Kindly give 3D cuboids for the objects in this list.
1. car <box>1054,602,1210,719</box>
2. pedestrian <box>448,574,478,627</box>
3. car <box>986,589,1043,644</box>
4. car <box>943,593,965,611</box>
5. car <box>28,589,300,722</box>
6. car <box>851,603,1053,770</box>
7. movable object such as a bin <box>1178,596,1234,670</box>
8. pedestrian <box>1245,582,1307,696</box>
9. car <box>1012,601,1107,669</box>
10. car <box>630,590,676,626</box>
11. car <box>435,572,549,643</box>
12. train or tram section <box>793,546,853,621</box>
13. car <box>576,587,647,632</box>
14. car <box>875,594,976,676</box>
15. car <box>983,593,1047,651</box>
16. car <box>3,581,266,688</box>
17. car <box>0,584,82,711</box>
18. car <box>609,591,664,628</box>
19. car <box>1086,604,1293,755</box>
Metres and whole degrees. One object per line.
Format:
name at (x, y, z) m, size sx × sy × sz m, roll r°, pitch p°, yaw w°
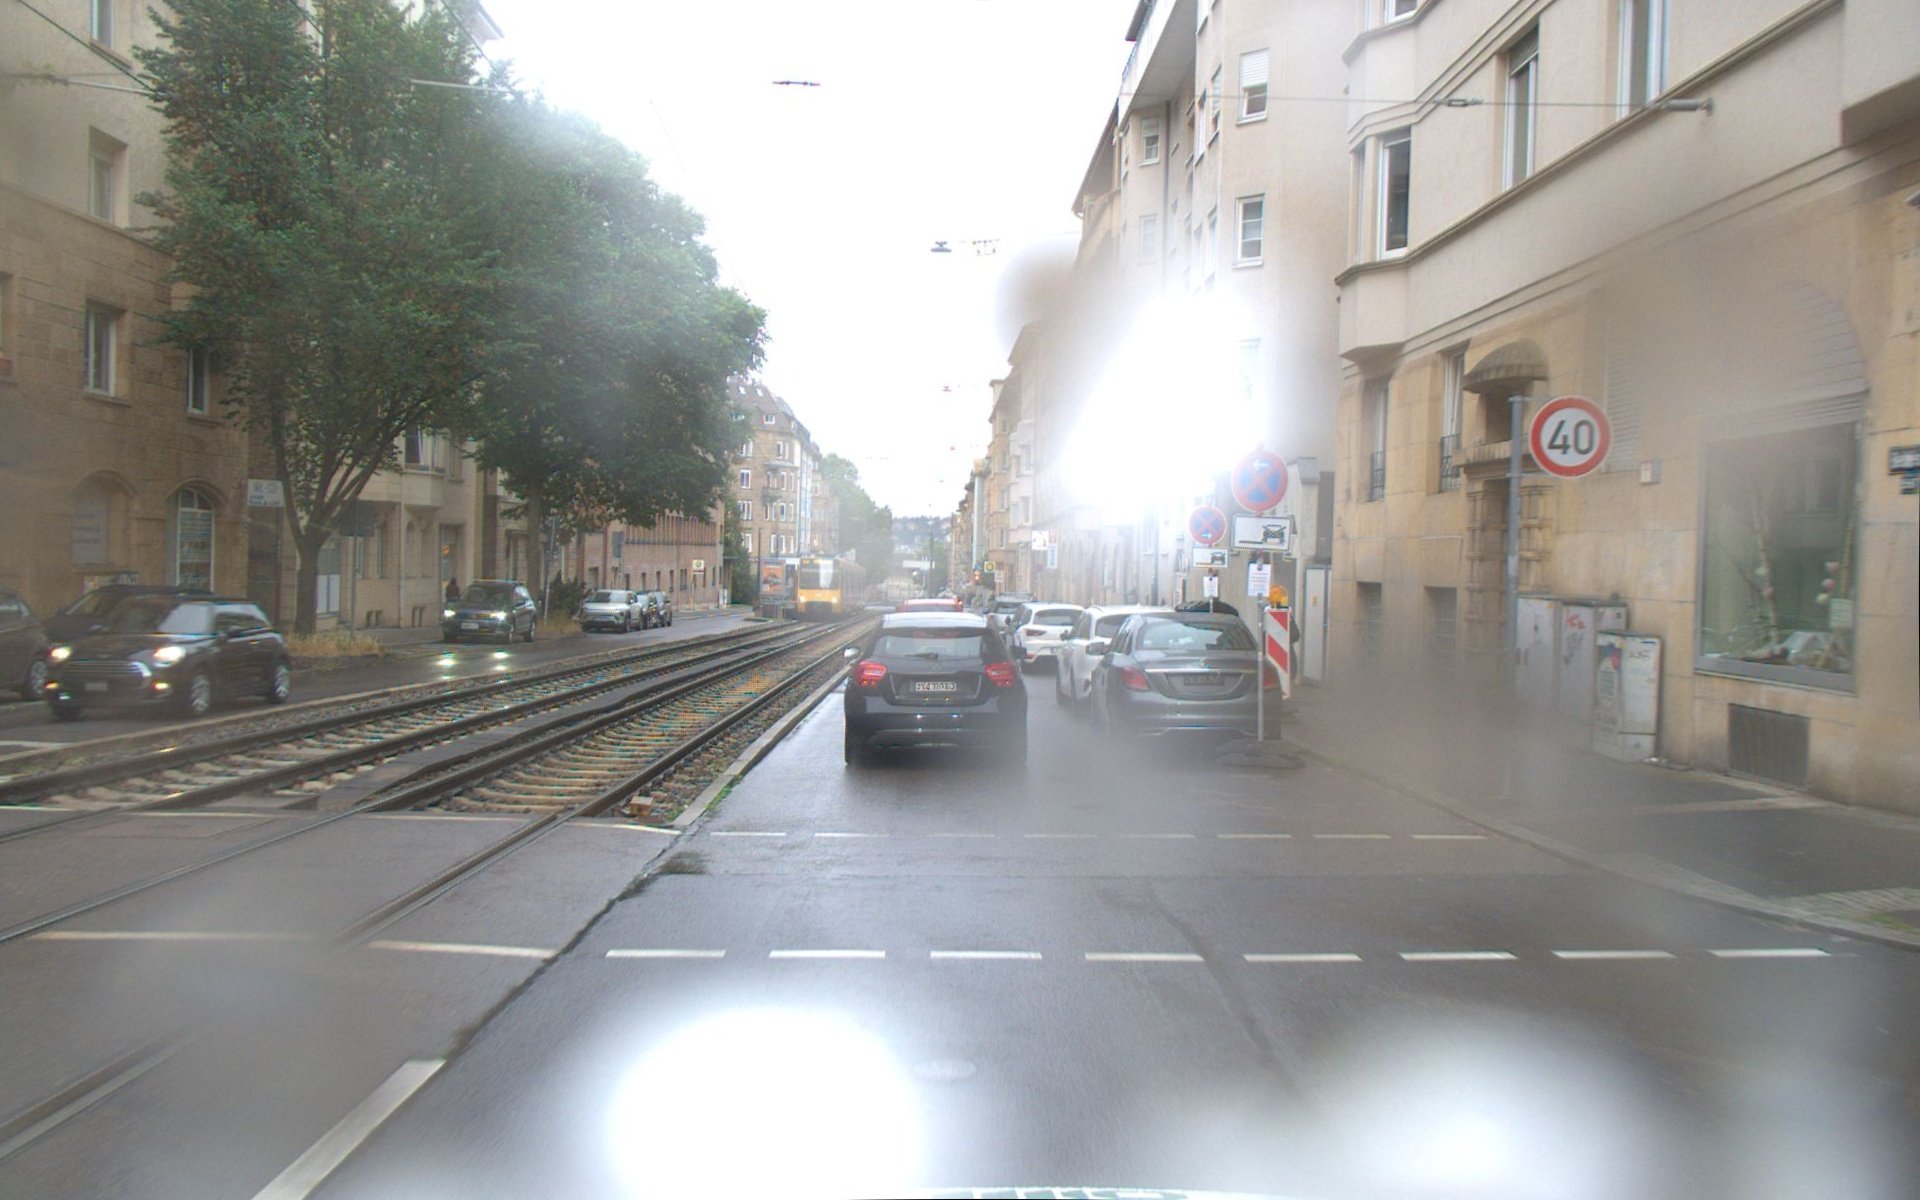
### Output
car at (2.343, 0.801, 23.594) m, size 1.677 × 1.493 × 4.773 m, roll 0°, pitch -1°, yaw -1°
pedestrian at (-16.306, 0.016, 54.245) m, size 0.713 × 1.692 × 0.770 m, roll 1°, pitch 0°, yaw -2°
car at (1.791, 0.554, 55.299) m, size 1.742 × 1.780 × 4.548 m, roll 0°, pitch -1°, yaw 0°
car at (-0.558, 0.209, 148.048) m, size 1.848 × 1.552 × 4.246 m, roll 2°, pitch 0°, yaw 1°
car at (-9.734, 0.619, 20.553) m, size 1.620 × 1.488 × 3.733 m, roll 0°, pitch 0°, yaw -1°
car at (-0.092, 0.785, 16.789) m, size 1.797 × 1.478 × 3.901 m, roll 1°, pitch 0°, yaw -1°
movable object such as a bin at (5.117, 0.680, 34.489) m, size 0.960 × 1.494 × 1.272 m, roll 0°, pitch -1°, yaw -1°
pedestrian at (4.830, 0.595, 25.291) m, size 0.788 × 1.717 × 0.754 m, roll 0°, pitch -1°, yaw -2°
car at (2.147, 0.755, 36.652) m, size 1.753 × 1.410 × 4.393 m, roll 0°, pitch -1°, yaw -1°
car at (-13.469, 0.326, 72.710) m, size 1.540 × 1.492 × 3.043 m, roll 2°, pitch 0°, yaw -2°
car at (-13.109, 0.177, 46.626) m, size 1.914 × 1.772 × 4.777 m, roll 4°, pitch 0°, yaw -2°
train or tram section at (-8.169, -0.965, 100.538) m, size 2.690 × 4.133 × 17.208 m, roll 0°, pitch 0°, yaw -2°
car at (-13.410, 0.324, 63.889) m, size 1.921 × 1.633 × 4.327 m, roll 2°, pitch 0°, yaw -2°
car at (-0.713, 0.696, 34.745) m, size 1.953 × 1.552 × 4.244 m, roll 2°, pitch 0°, yaw -1°
car at (1.624, 0.649, 49.236) m, size 1.803 × 1.636 × 4.761 m, roll 0°, pitch -1°, yaw 1°
car at (-12.614, 0.511, 25.681) m, size 1.745 × 1.485 × 4.976 m, roll 0°, pitch -1°, yaw -2°
car at (-12.568, 0.571, 20.125) m, size 1.656 × 1.556 × 4.173 m, roll 0°, pitch -1°, yaw -2°
car at (-13.456, 0.376, 68.946) m, size 1.633 × 1.440 × 3.686 m, roll 2°, pitch 0°, yaw -1°
car at (2.379, 0.786, 18.227) m, size 1.675 × 1.435 × 4.817 m, roll 0°, pitch -1°, yaw 1°
